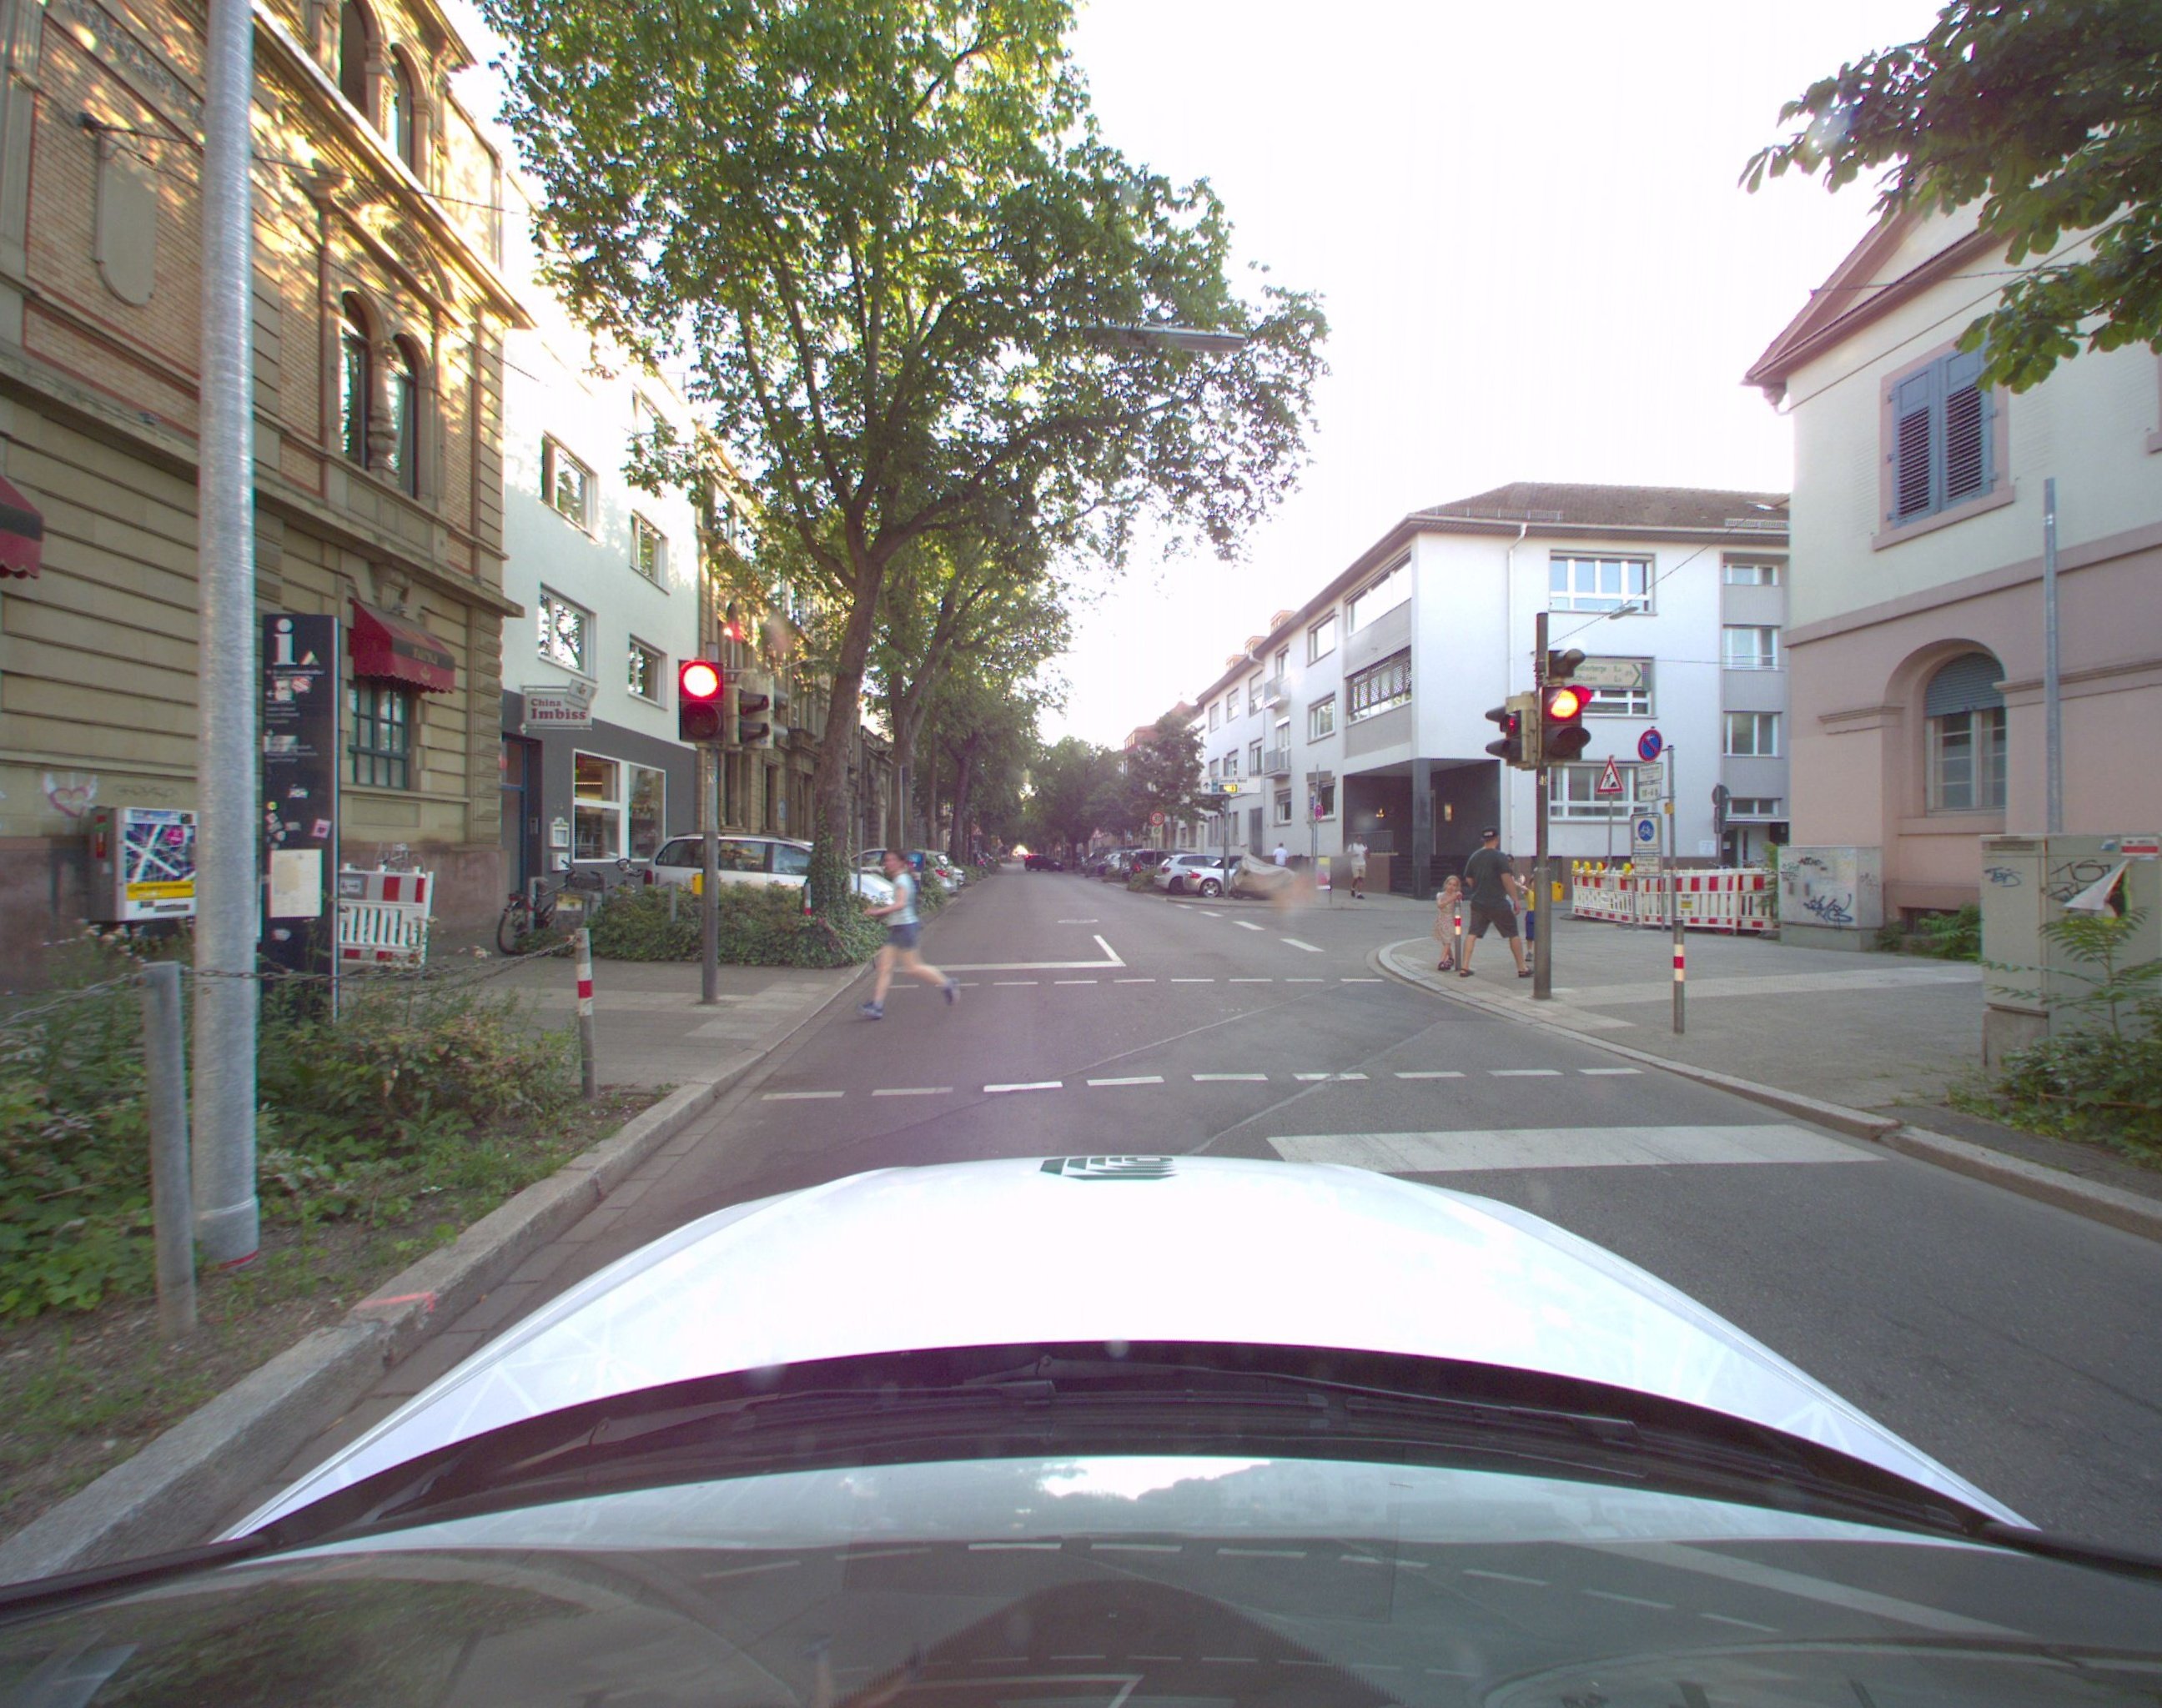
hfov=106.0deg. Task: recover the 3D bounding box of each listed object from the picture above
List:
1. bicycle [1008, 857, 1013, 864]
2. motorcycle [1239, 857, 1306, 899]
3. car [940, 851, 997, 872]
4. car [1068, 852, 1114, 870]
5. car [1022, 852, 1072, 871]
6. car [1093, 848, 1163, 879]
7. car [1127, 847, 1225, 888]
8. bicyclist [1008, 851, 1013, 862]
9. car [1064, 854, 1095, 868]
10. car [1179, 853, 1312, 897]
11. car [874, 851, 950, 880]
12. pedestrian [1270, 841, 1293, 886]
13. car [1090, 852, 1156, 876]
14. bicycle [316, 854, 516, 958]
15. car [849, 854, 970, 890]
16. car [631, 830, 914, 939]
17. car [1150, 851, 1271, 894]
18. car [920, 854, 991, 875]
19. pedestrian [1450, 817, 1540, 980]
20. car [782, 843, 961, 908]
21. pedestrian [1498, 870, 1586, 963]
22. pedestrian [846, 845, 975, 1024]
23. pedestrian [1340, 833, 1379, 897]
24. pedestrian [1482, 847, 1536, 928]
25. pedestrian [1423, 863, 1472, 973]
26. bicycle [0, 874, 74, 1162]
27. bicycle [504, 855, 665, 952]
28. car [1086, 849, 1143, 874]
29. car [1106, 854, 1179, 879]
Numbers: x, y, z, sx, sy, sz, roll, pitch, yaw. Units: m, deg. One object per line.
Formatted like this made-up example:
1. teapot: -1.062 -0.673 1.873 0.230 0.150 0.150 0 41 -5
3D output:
1. bicycle: -8.979 0.855 103.689 0.571 0.949 1.738 1 -1 -10
2. motorcycle: 5.524 0.686 23.563 1.791 1.199 0.613 -1 0 4
3. car: -9.321 0.590 67.561 4.539 1.691 1.830 0 0 -4
4. car: 0.887 0.656 74.183 4.007 1.602 1.704 0 0 -5
5. car: -3.039 0.680 72.190 3.940 1.578 1.922 1 0 30
6. car: 2.807 0.542 49.187 4.007 1.815 1.704 -1 0 -5
7. car: 4.136 0.565 35.744 4.007 1.690 1.704 -1 0 -5
8. bicyclist: -9.009 0.313 103.889 0.571 1.470 0.640 1 -1 -10
9. car: -0.174 0.892 106.878 4.007 1.830 1.704 0 0 -5
10. car: 5.358 0.659 26.774 4.007 1.342 1.704 -1 0 -4
11. car: -9.677 0.640 46.849 4.031 1.590 1.830 0 0 -4
12. pedestrian: 7.896 0.357 32.075 0.701 1.752 0.699 0 0 -1
13. car: 2.654 0.633 52.036 4.007 1.530 1.704 0 0 -5
14. bicycle: -8.626 0.606 10.762 0.635 1.202 2.561 0 0 -3
15. car: -6.832 0.697 32.784 4.539 1.372 1.830 0 0 -4
16. car: -5.475 0.511 15.022 4.544 1.835 1.828 0 0 -8
17. car: 4.615 0.630 29.318 4.007 1.442 1.704 -1 0 -5
18. car: -8.459 0.699 55.206 4.539 1.410 1.830 0 0 -4
19. pedestrian: 4.925 0.480 9.665 0.784 1.815 0.897 0 2 38
20. car: -5.687 0.561 22.571 4.539 1.689 1.830 0 0 -4
21. pedestrian: 6.011 0.790 10.650 0.566 1.121 0.833 -1 1 -14
22. pedestrian: -1.596 0.697 7.628 0.984 1.557 0.694 0 0 -35
23. pedestrian: 8.103 0.315 23.734 0.765 1.841 0.942 0 0 -4
24. pedestrian: 8.344 0.627 15.873 0.766 1.500 0.807 1 1 39
25. pedestrian: 4.612 0.786 10.268 0.501 1.335 0.544 1 0 18
26. bicycle: -4.557 0.669 2.459 0.509 1.153 2.098 2 0 -4
27. bicycle: -6.834 0.616 11.425 0.733 1.186 2.631 1 0 -3
28. car: 2.439 0.538 59.383 4.007 1.830 1.704 0 0 -5
29. car: 3.515 0.711 46.938 4.007 1.409 1.704 -1 0 -5
